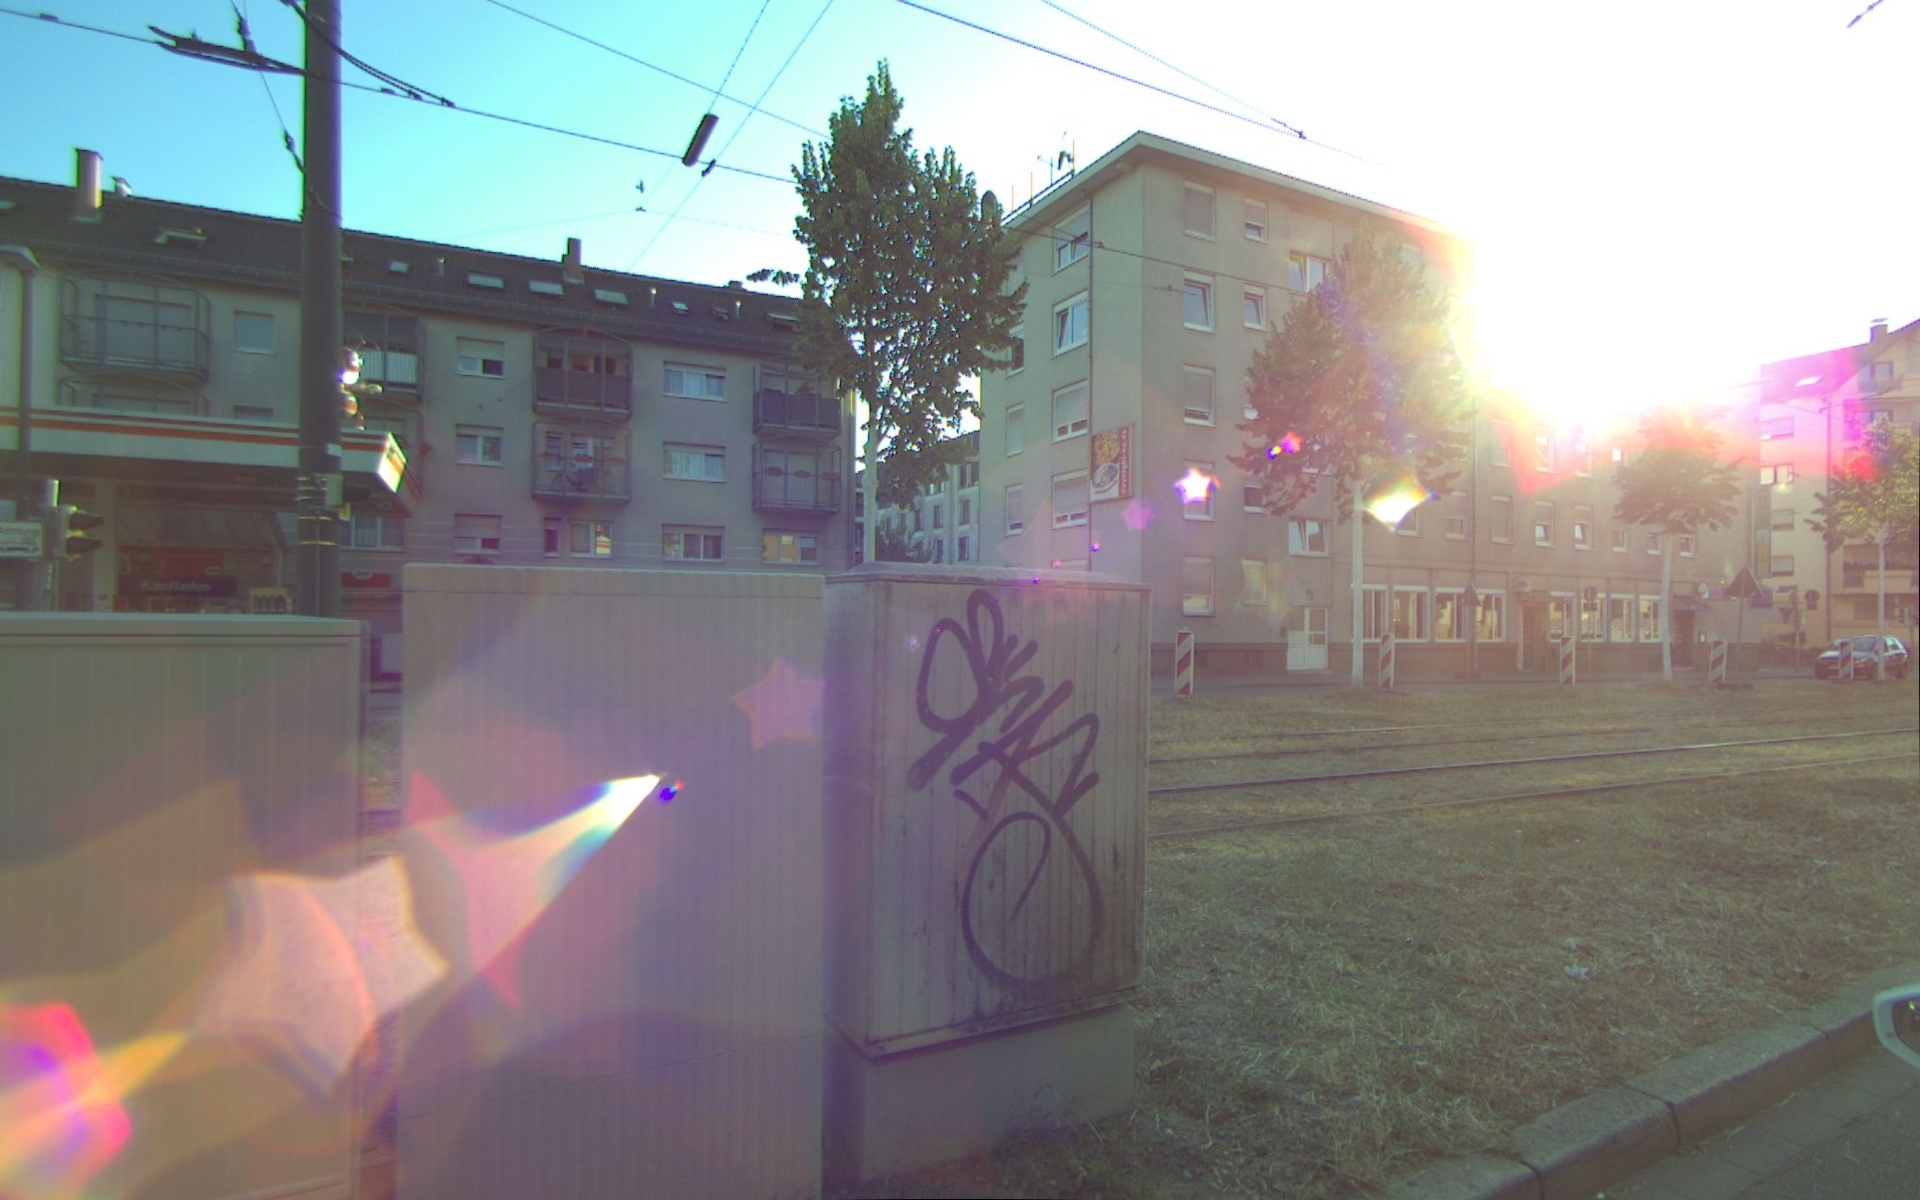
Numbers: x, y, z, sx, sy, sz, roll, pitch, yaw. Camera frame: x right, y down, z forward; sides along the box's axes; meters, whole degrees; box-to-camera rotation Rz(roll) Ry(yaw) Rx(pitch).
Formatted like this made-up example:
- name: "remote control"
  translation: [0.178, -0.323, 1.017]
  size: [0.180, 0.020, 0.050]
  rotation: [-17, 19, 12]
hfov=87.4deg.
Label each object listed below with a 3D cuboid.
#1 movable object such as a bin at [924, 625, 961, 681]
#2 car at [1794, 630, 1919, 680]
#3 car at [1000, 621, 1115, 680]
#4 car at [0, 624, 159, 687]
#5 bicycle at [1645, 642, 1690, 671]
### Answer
- name: "movable object such as a bin"
  translation: [-0.450, 1.350, 25.878]
  size: [0.740, 1.419, 0.660]
  rotation: [1, -2, -29]
- name: "car"
  translation: [33.303, 1.997, 37.259]
  size: [4.869, 1.580, 1.806]
  rotation: [-1, -1, -26]
- name: "car"
  translation: [2.634, 1.393, 27.974]
  size: [1.790, 1.532, 3.813]
  rotation: [1, -3, -19]
- name: "car"
  translation: [-24.265, 1.476, 27.122]
  size: [3.780, 1.544, 1.805]
  rotation: [1, 1, -27]
- name: "bicycle"
  translation: [28.390, 2.248, 40.293]
  size: [1.756, 1.129, 0.744]
  rotation: [1, -2, -28]
